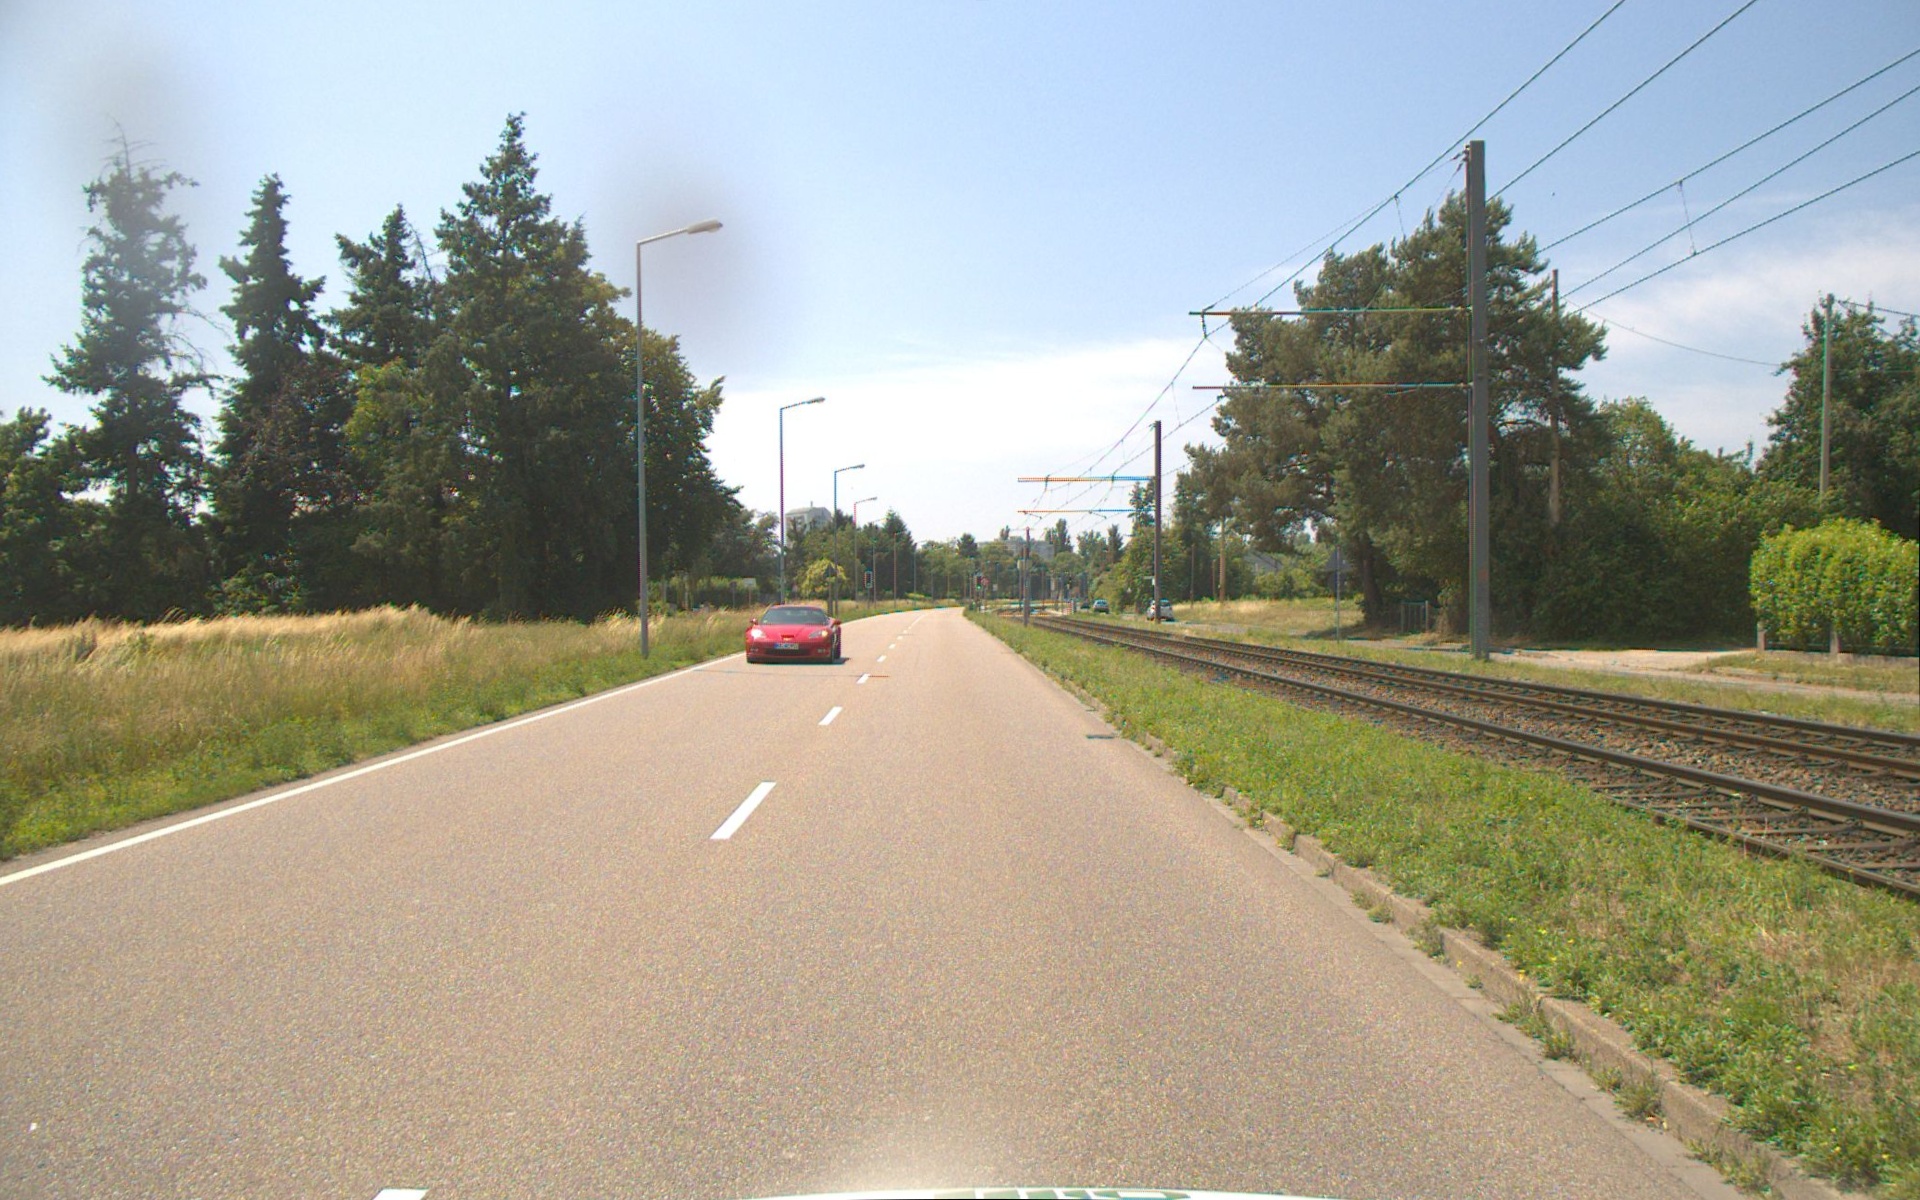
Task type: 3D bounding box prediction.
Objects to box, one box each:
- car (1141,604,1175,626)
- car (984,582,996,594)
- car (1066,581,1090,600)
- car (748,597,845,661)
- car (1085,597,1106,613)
[{"bbox_3d":[14.642,1.103,122.216,1.953,1.534,3.999,-1,-1,-1],"label":"car"},{"bbox_3d":[4.224,-1.700,232.381,1.520,1.613,3.568,-1,-1,-1],"label":"car"},{"bbox_3d":[10.120,-0.814,141.674,1.709,1.587,3.999,-1,-1,-1],"label":"car"},{"bbox_3d":[-3.585,0.641,36.907,1.770,1.308,4.285,-1,-1,-1],"label":"car"},{"bbox_3d":[14.593,0.581,178.045,1.876,1.691,3.999,-1,-1,-1],"label":"car"}]
